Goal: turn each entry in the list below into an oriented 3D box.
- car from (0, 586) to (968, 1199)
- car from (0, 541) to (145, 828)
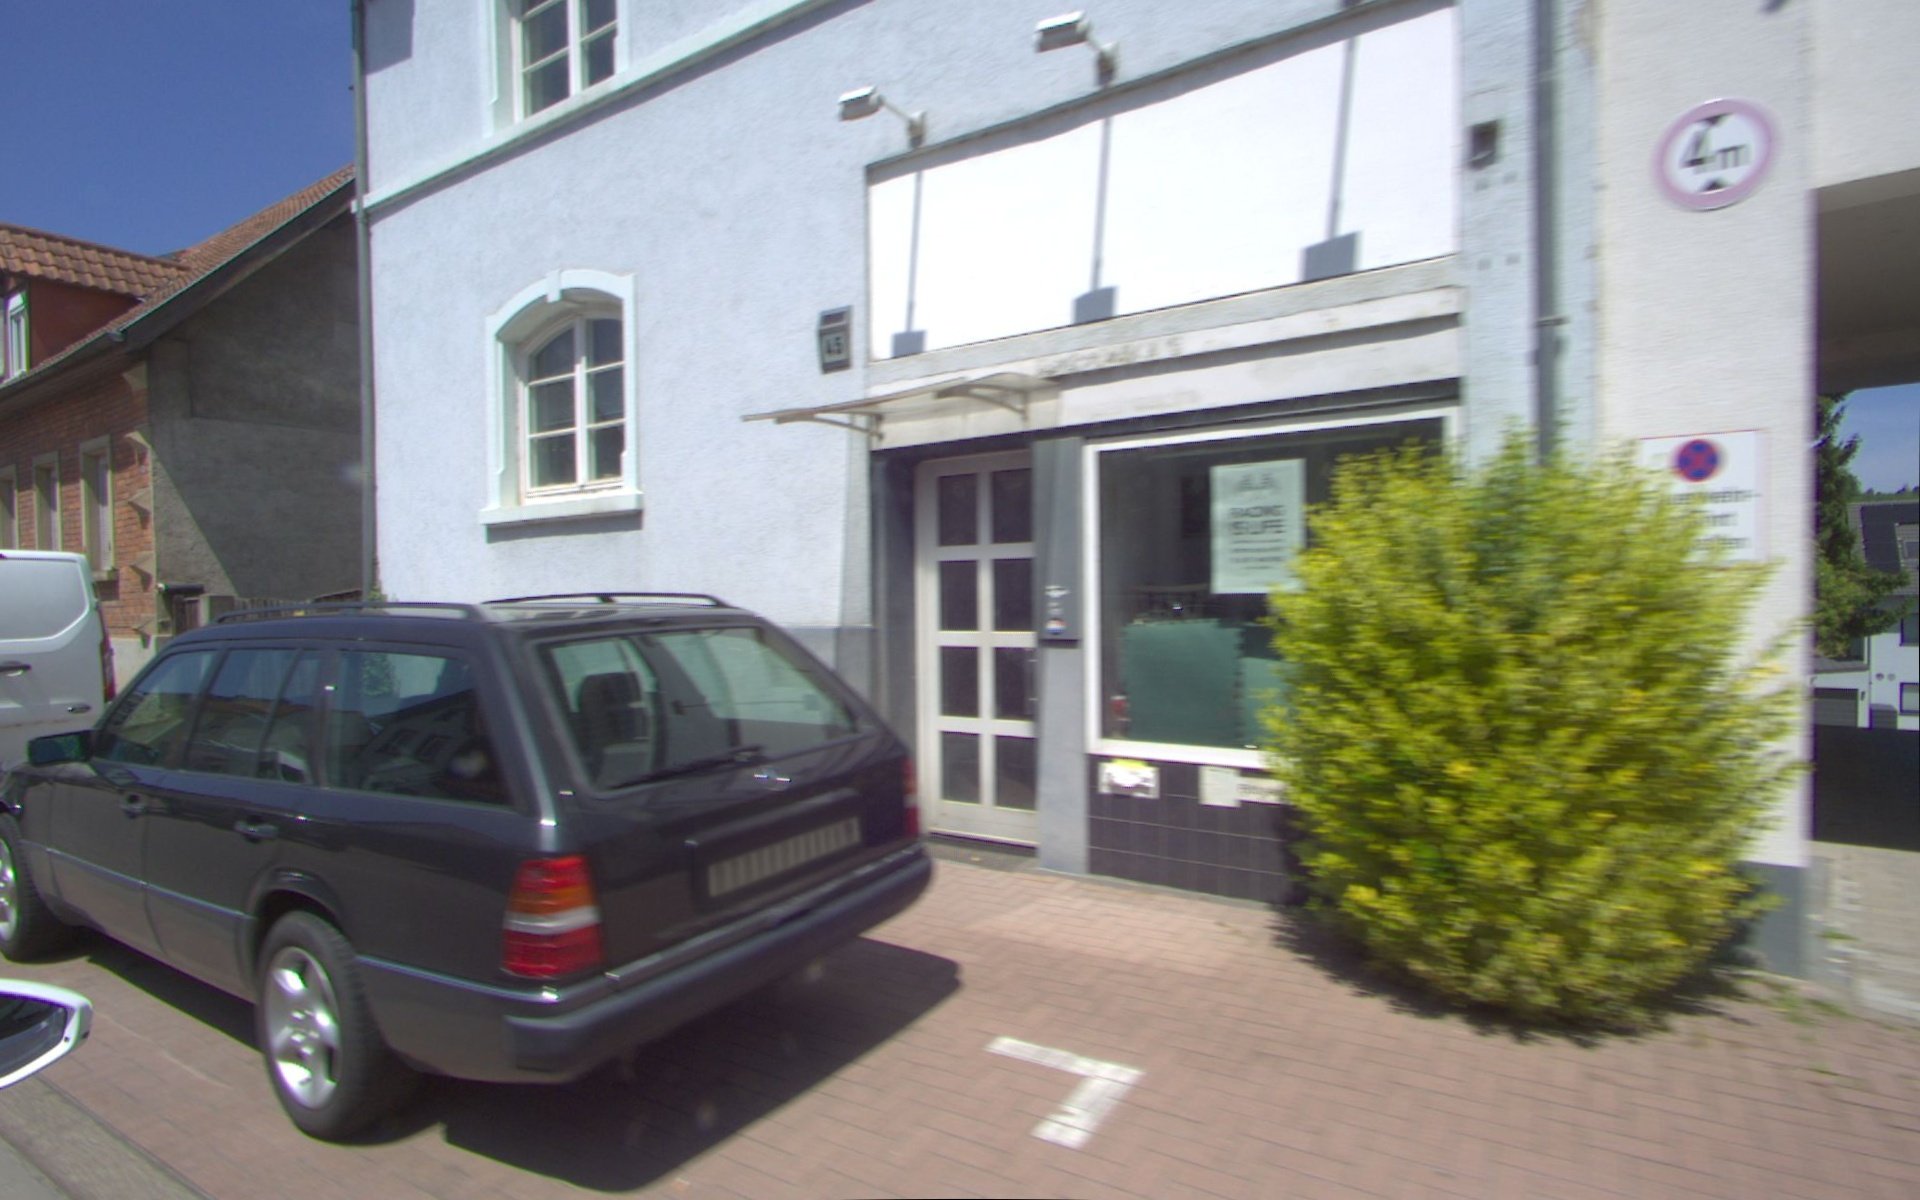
[{"bbox_3d":[-2.346,0.732,4.108,4.512,1.485,1.766,-1,1,33],"label":"car"},{"bbox_3d":[-8.772,0.618,8.071,4.715,1.997,1.942,-1,1,32],"label":"car"}]
